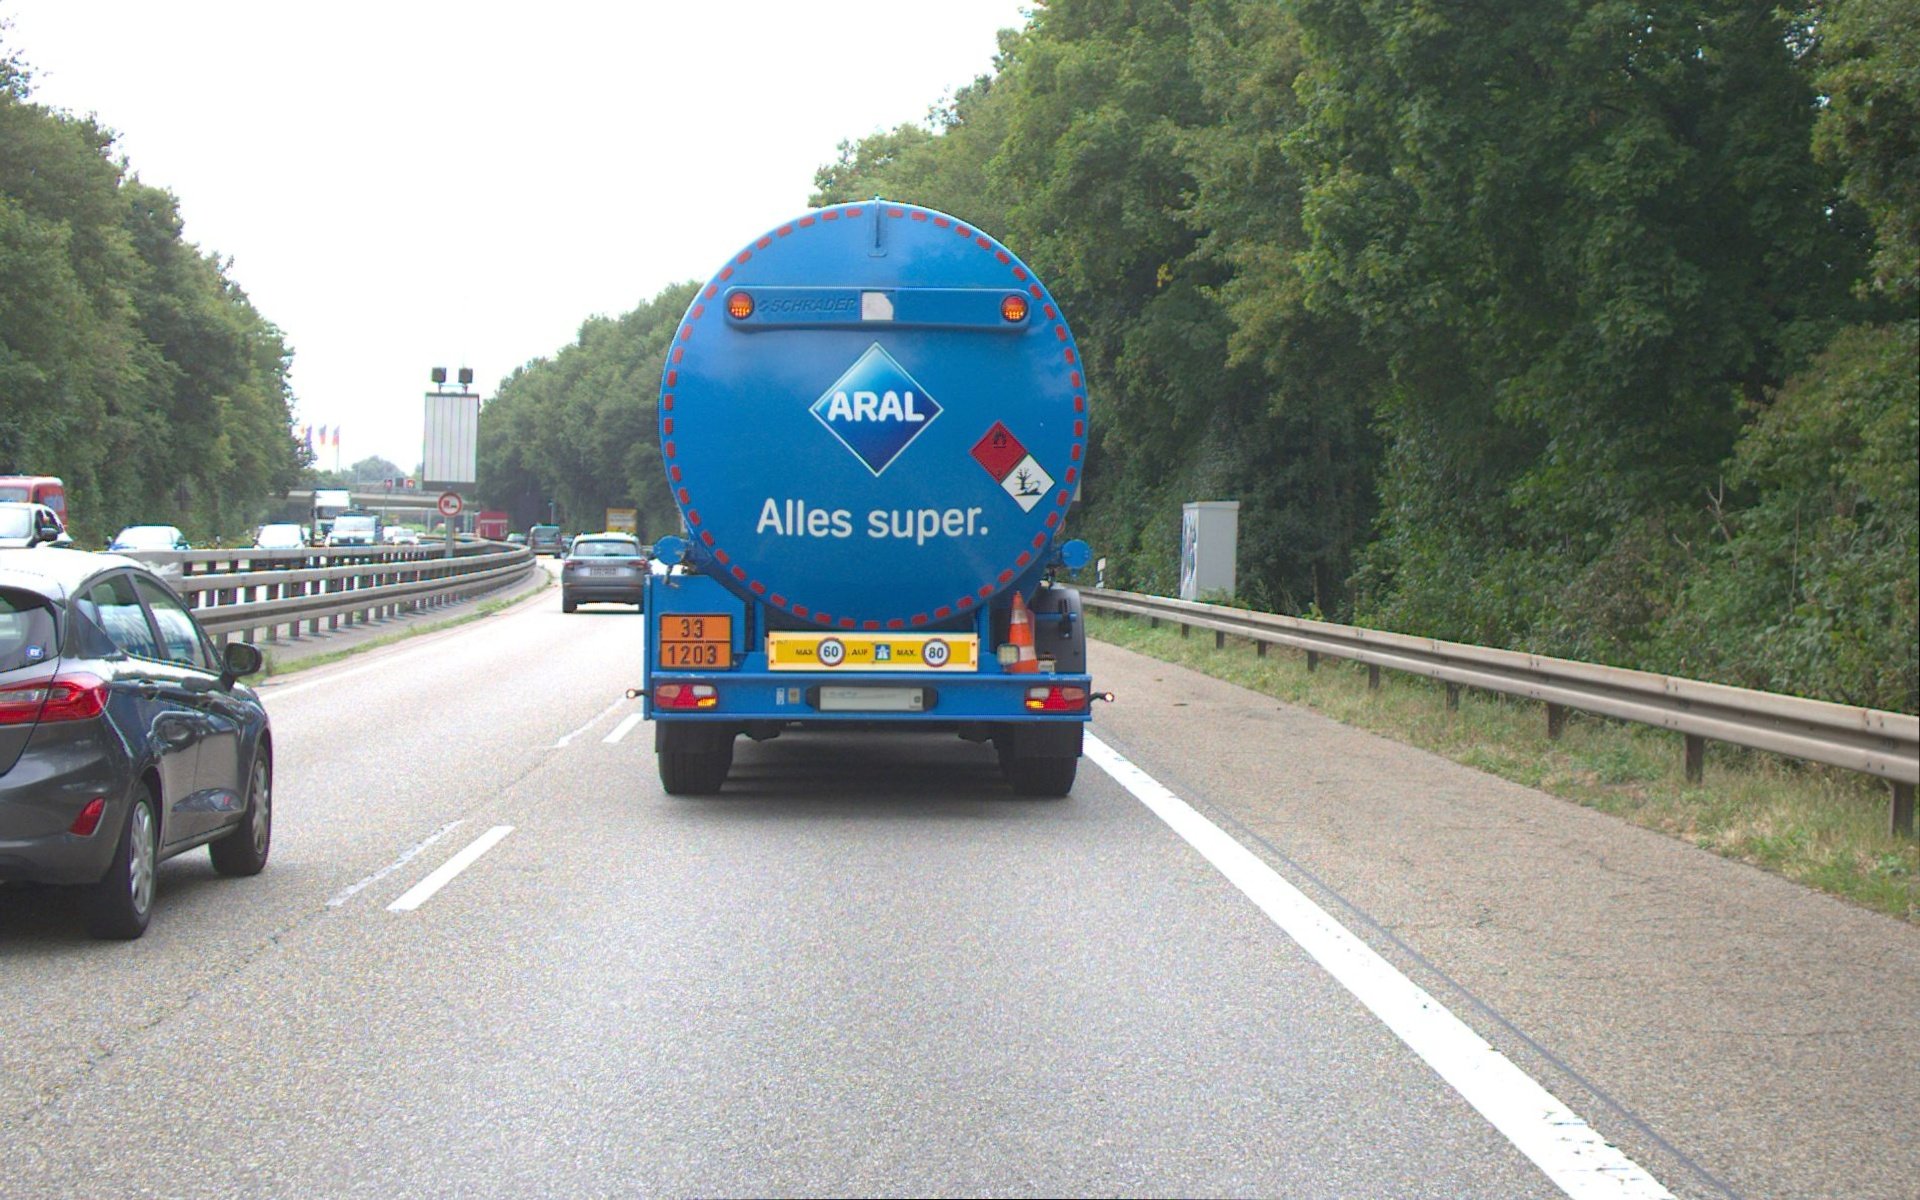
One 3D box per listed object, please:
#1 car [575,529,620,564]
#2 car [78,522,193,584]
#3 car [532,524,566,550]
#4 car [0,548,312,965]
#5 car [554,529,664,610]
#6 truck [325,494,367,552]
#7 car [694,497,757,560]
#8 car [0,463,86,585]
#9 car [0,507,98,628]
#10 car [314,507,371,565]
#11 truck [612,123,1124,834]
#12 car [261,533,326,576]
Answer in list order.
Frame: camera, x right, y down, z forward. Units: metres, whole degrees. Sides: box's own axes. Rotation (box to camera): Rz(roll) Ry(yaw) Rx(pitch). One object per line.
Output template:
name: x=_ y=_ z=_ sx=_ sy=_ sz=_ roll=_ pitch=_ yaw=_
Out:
car: x=-16.681 y=-2.440 z=157.916 sx=1.954 sy=1.562 sz=4.001 roll=0 pitch=1 yaw=-7
car: x=-20.638 y=-1.183 z=86.219 sx=1.993 sy=1.504 sz=4.505 roll=0 pitch=1 yaw=-3
car: x=-25.166 y=-3.851 z=210.530 sx=1.993 sy=1.546 sz=4.001 roll=0 pitch=1 yaw=-8
car: x=-3.971 y=0.510 z=14.251 sx=1.826 sy=1.453 sz=4.640 roll=0 pitch=1 yaw=-2
car: x=-7.160 y=-0.639 z=70.402 sx=1.826 sy=1.604 sz=4.167 roll=0 pitch=1 yaw=0
truck: x=-43.439 y=-5.400 z=243.374 sx=2.692 sy=4.049 sz=5.324 roll=0 pitch=1 yaw=-7
car: x=-8.419 y=-2.554 z=123.513 sx=1.993 sy=2.237 sz=4.000 roll=0 pitch=1 yaw=0
car: x=-18.336 y=-1.436 z=65.884 sx=2.066 sy=2.248 sz=5.376 roll=0 pitch=1 yaw=-3
car: x=-12.946 y=-0.445 z=46.323 sx=1.781 sy=1.558 sz=4.015 roll=0 pitch=1 yaw=-2
car: x=-25.138 y=-2.608 z=140.144 sx=1.935 sy=2.313 sz=5.306 roll=0 pitch=1 yaw=-7
truck: x=-0.516 y=-0.729 z=22.435 sx=2.755 sy=3.833 sz=7.689 roll=0 pitch=1 yaw=0
car: x=-23.352 y=-1.589 z=120.585 sx=1.694 sy=1.461 sz=4.090 roll=0 pitch=1 yaw=-3
